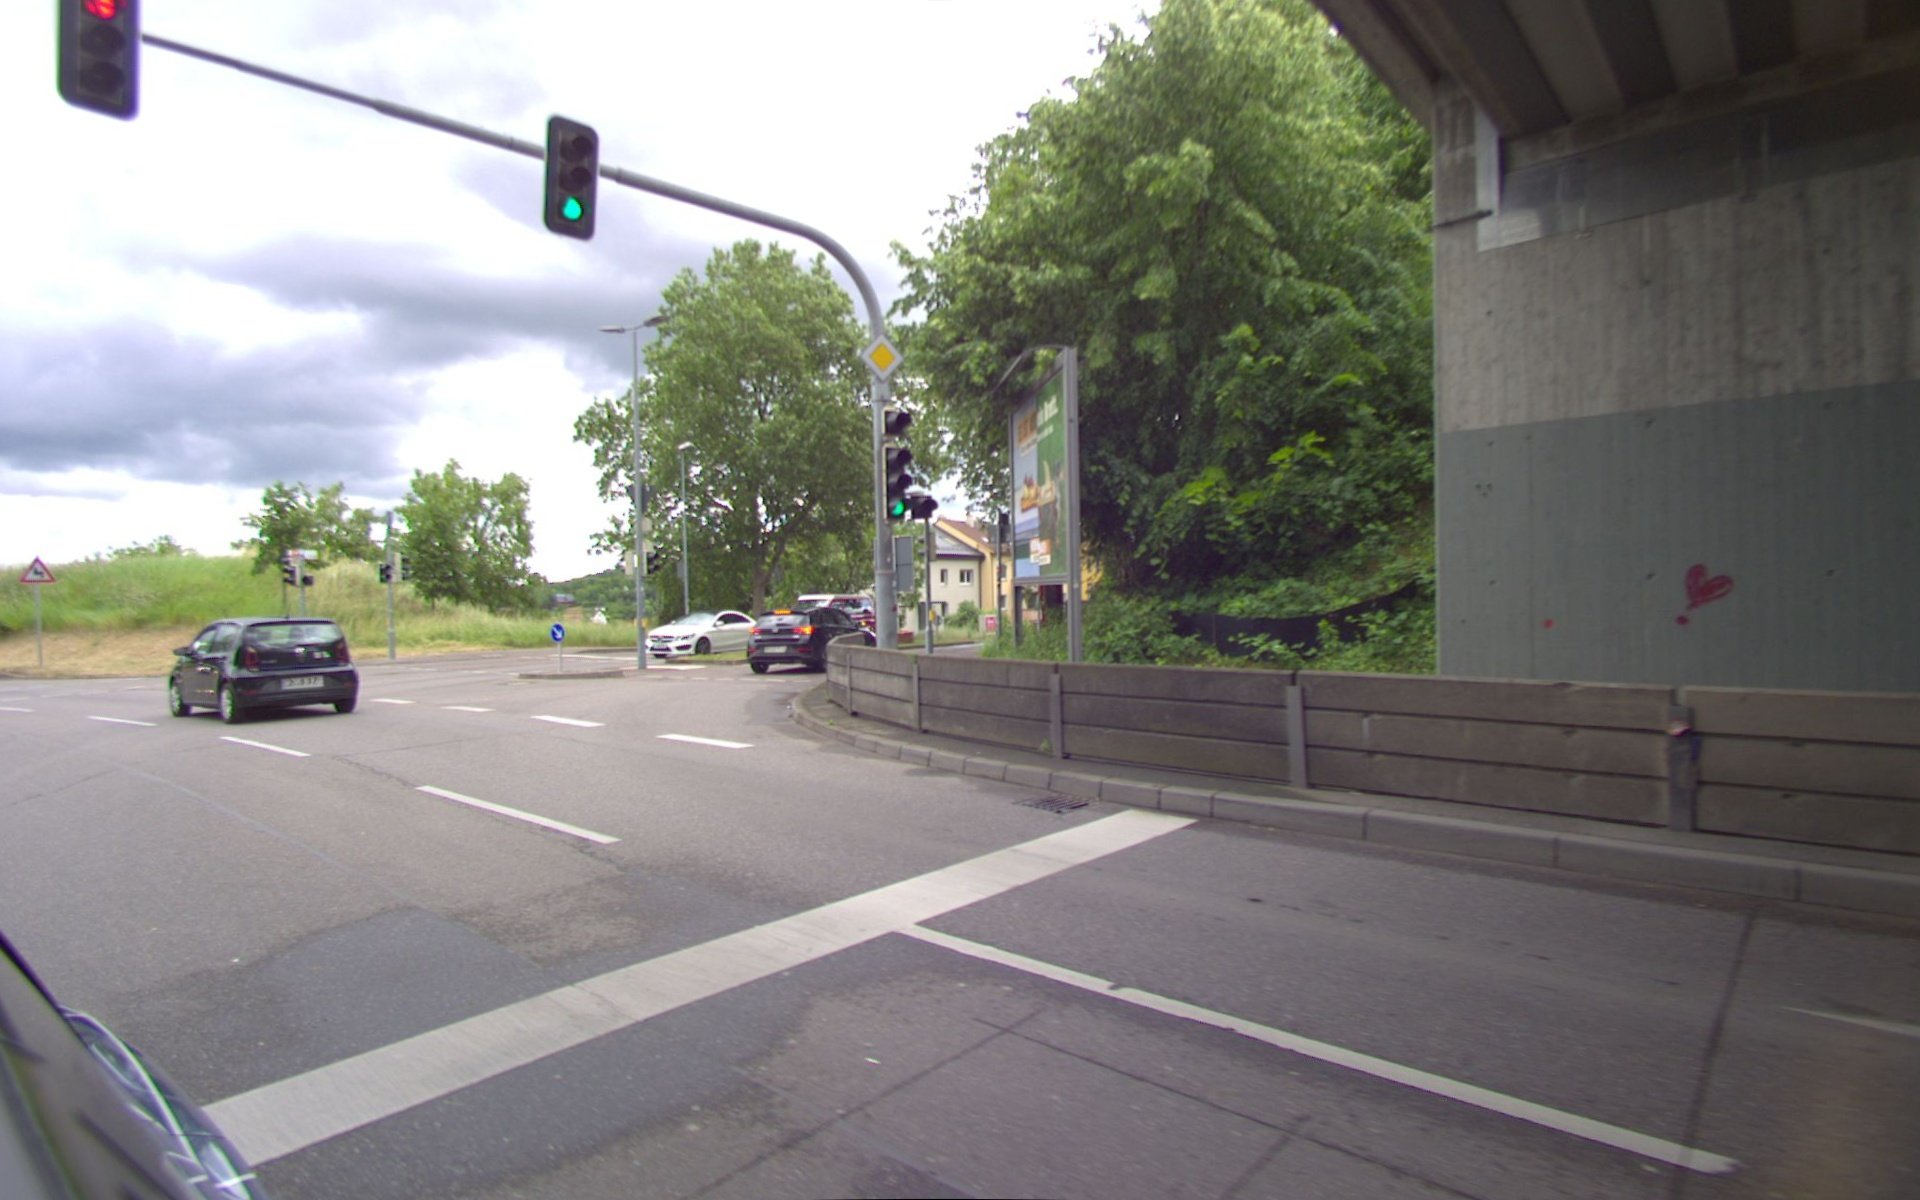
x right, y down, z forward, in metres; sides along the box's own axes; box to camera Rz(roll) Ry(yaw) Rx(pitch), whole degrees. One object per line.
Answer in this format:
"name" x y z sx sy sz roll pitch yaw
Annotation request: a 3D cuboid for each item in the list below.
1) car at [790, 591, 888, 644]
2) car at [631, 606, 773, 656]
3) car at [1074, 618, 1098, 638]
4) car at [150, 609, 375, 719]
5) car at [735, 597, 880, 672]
"car" -4.488 0.613 38.219 1.844 1.827 4.006 -2 0 24
"car" -7.889 0.892 31.326 1.988 1.349 4.384 0 1 24
"car" 9.722 2.116 77.818 1.654 1.364 3.722 -2 0 10
"car" -10.655 0.885 15.361 3.995 1.420 1.707 -1 0 38
"car" -3.403 0.733 23.420 1.805 1.488 4.118 -2 0 14
